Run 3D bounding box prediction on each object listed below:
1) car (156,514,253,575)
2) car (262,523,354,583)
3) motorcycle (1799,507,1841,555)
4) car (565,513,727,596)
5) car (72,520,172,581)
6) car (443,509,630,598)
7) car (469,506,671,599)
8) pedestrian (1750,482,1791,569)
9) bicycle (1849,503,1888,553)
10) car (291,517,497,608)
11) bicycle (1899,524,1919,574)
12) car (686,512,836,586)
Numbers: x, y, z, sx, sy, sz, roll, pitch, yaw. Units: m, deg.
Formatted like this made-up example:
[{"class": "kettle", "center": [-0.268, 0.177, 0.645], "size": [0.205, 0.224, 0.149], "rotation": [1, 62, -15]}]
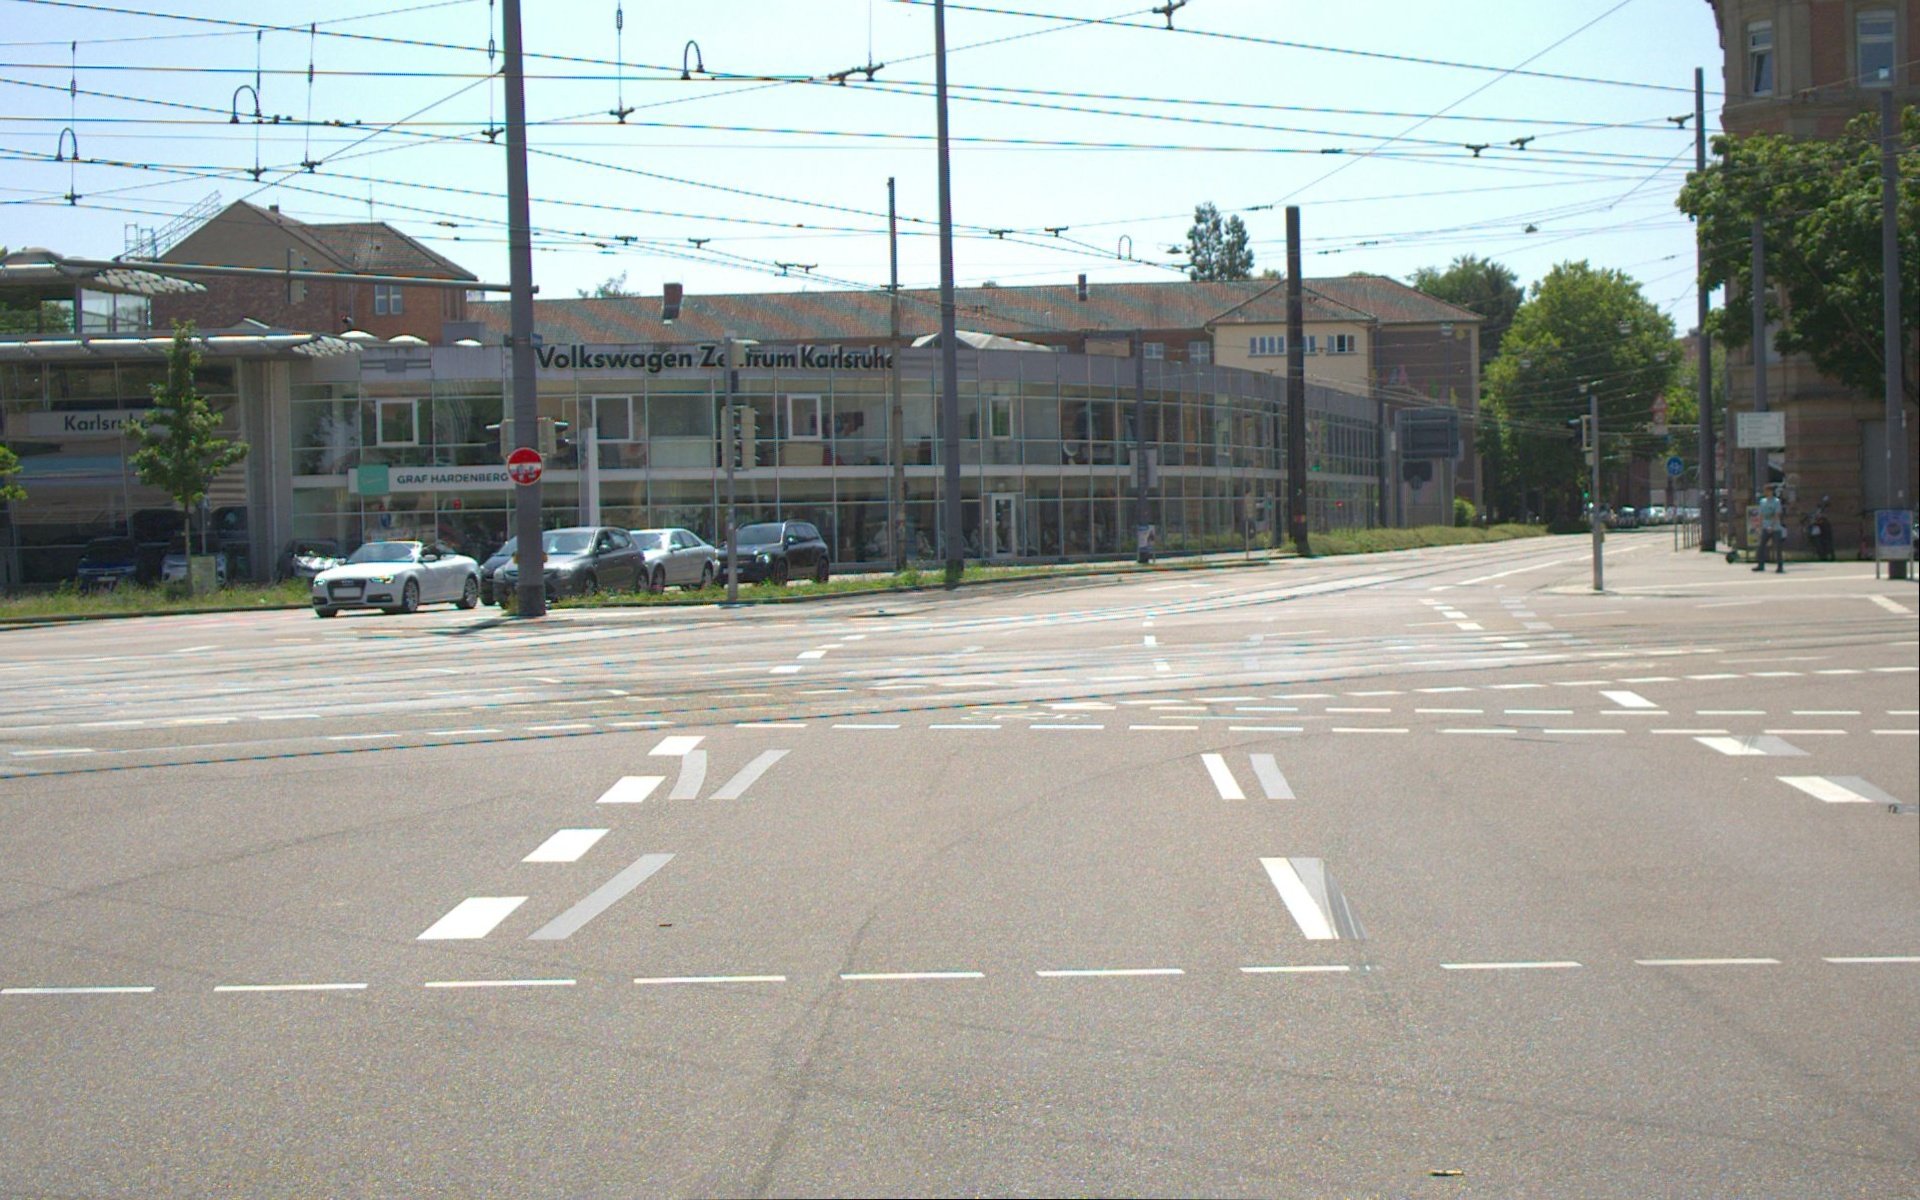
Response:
[{"class": "car", "center": [-21.963, -1.600, 100.062], "size": [1.920, 1.701, 4.000], "rotation": [1, 0, 0]}, {"class": "car", "center": [-19.003, -1.365, 100.357], "size": [1.920, 1.701, 4.000], "rotation": [1, 0, 0]}, {"class": "motorcycle", "center": [19.795, -1.590, 79.150], "size": [0.580, 1.071, 1.946], "rotation": [-1, 1, 3]}, {"class": "car", "center": [-6.927, -1.034, 76.231], "size": [1.995, 1.733, 4.540], "rotation": [-1, 1, 17]}, {"class": "car", "center": [-24.350, -1.436, 100.043], "size": [1.920, 1.701, 4.000], "rotation": [1, 0, 0]}, {"class": "car", "center": [-8.601, -0.979, 70.323], "size": [1.995, 1.694, 4.843], "rotation": [-1, 1, 17]}, {"class": "car", "center": [-7.250, -0.911, 64.495], "size": [1.995, 1.631, 4.843], "rotation": [-1, 1, 17]}, {"class": "pedestrian", "center": [16.085, -1.479, 68.232], "size": [0.461, 1.702, 0.640], "rotation": [-2, 1, -26]}, {"class": "bicycle", "center": [20.907, -1.662, 79.111], "size": [0.551, 1.116, 1.820], "rotation": [-1, 1, 5]}, {"class": "car", "center": [-10.497, -0.723, 64.187], "size": [2.078, 1.574, 4.844], "rotation": [-1, 1, 13]}, {"class": "bicycle", "center": [22.039, -1.172, 79.206], "size": [0.442, 1.142, 2.093], "rotation": [1, 0, 6]}, {"class": "car", "center": [-4.766, -1.245, 83.122], "size": [2.080, 1.677, 4.843], "rotation": [-1, 1, 17]}]
